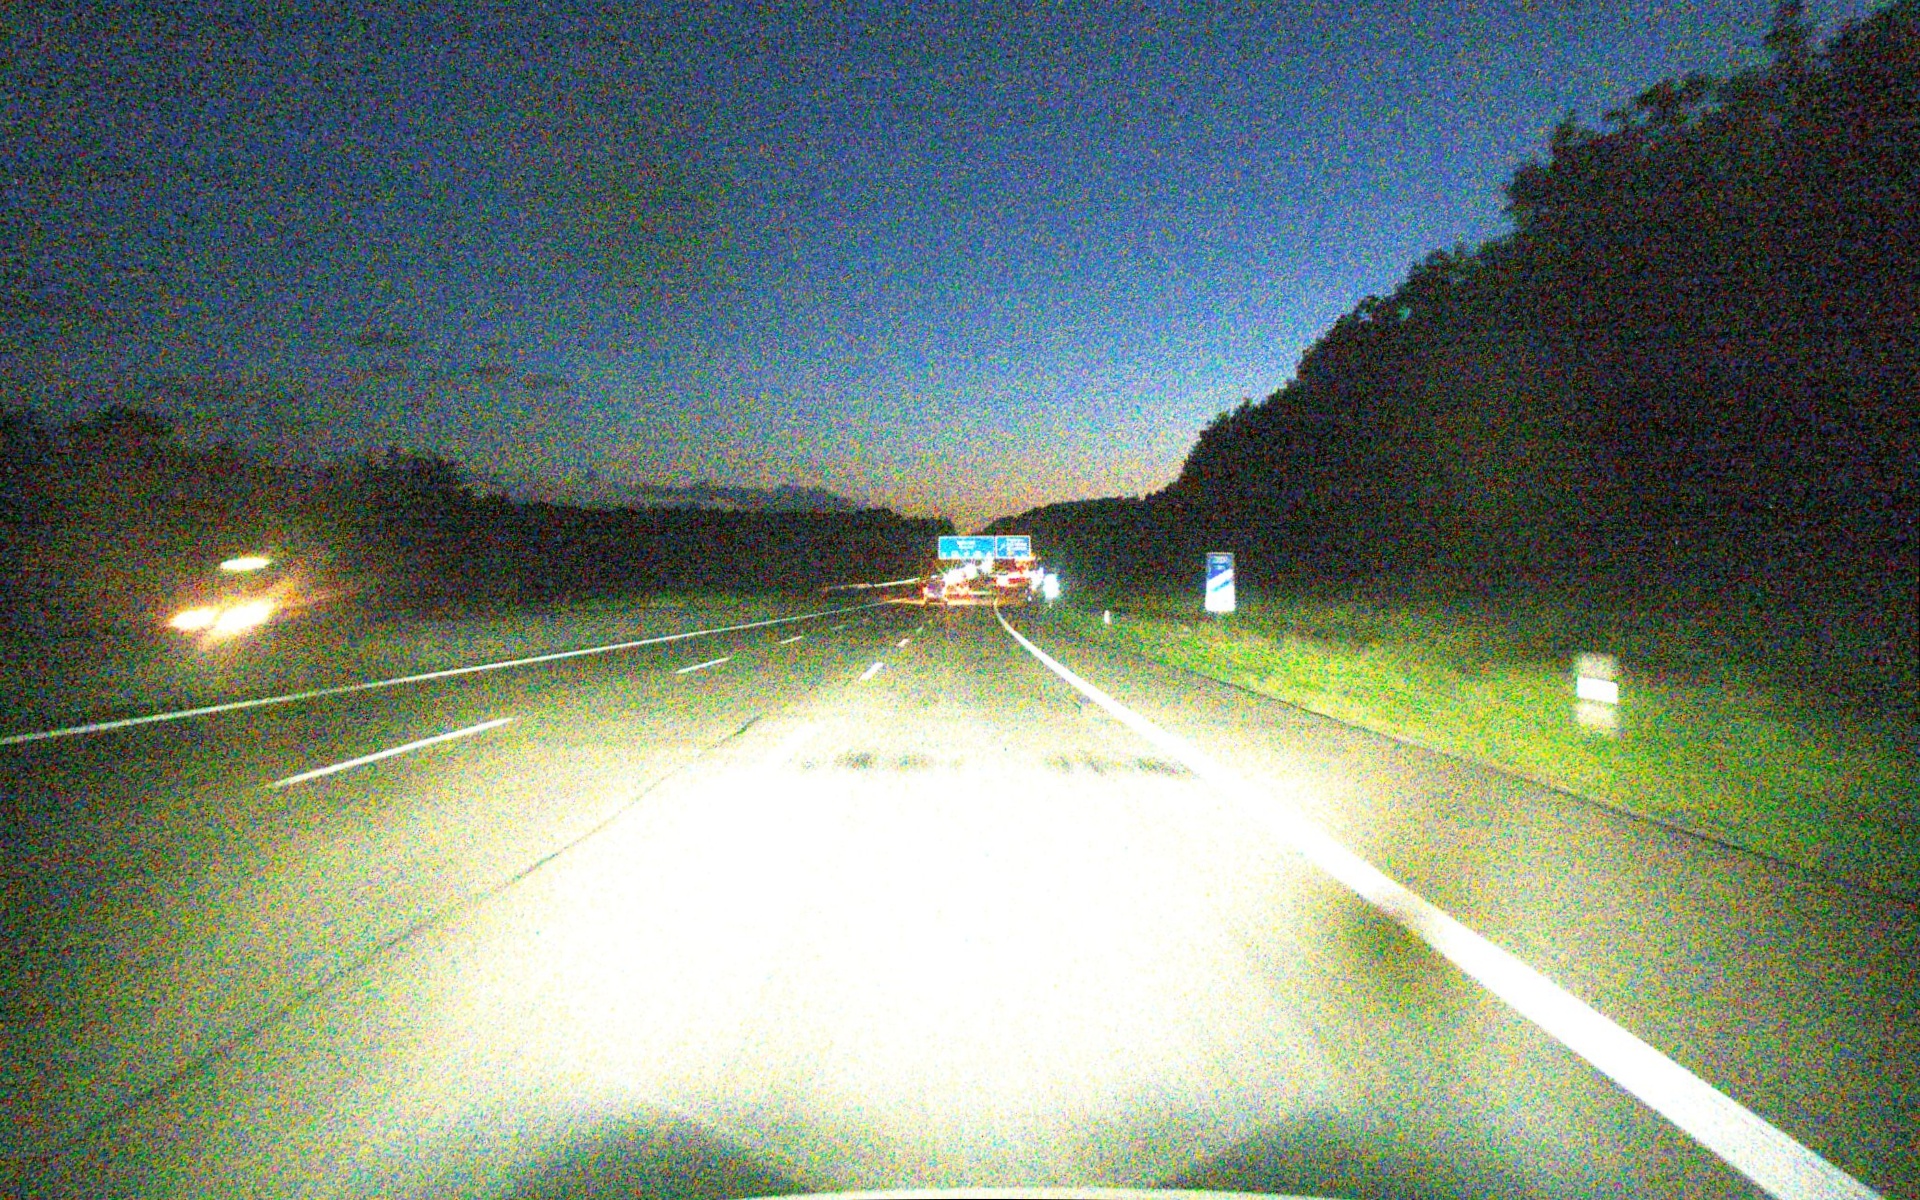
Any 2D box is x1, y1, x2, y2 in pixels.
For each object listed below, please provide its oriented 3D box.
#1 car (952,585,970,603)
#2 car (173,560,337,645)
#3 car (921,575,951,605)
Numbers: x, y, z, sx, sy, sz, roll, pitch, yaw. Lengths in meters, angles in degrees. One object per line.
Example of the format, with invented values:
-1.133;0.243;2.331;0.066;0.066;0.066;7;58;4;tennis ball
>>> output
0.126;-0.931;262.161;2.729;2.781;6.298;0;0;0;car
-22.259;0.086;52.621;2.342;2.495;6.670;1;0;0;car
-2.243;-0.914;155.332;2.729;2.781;6.299;0;0;0;car
